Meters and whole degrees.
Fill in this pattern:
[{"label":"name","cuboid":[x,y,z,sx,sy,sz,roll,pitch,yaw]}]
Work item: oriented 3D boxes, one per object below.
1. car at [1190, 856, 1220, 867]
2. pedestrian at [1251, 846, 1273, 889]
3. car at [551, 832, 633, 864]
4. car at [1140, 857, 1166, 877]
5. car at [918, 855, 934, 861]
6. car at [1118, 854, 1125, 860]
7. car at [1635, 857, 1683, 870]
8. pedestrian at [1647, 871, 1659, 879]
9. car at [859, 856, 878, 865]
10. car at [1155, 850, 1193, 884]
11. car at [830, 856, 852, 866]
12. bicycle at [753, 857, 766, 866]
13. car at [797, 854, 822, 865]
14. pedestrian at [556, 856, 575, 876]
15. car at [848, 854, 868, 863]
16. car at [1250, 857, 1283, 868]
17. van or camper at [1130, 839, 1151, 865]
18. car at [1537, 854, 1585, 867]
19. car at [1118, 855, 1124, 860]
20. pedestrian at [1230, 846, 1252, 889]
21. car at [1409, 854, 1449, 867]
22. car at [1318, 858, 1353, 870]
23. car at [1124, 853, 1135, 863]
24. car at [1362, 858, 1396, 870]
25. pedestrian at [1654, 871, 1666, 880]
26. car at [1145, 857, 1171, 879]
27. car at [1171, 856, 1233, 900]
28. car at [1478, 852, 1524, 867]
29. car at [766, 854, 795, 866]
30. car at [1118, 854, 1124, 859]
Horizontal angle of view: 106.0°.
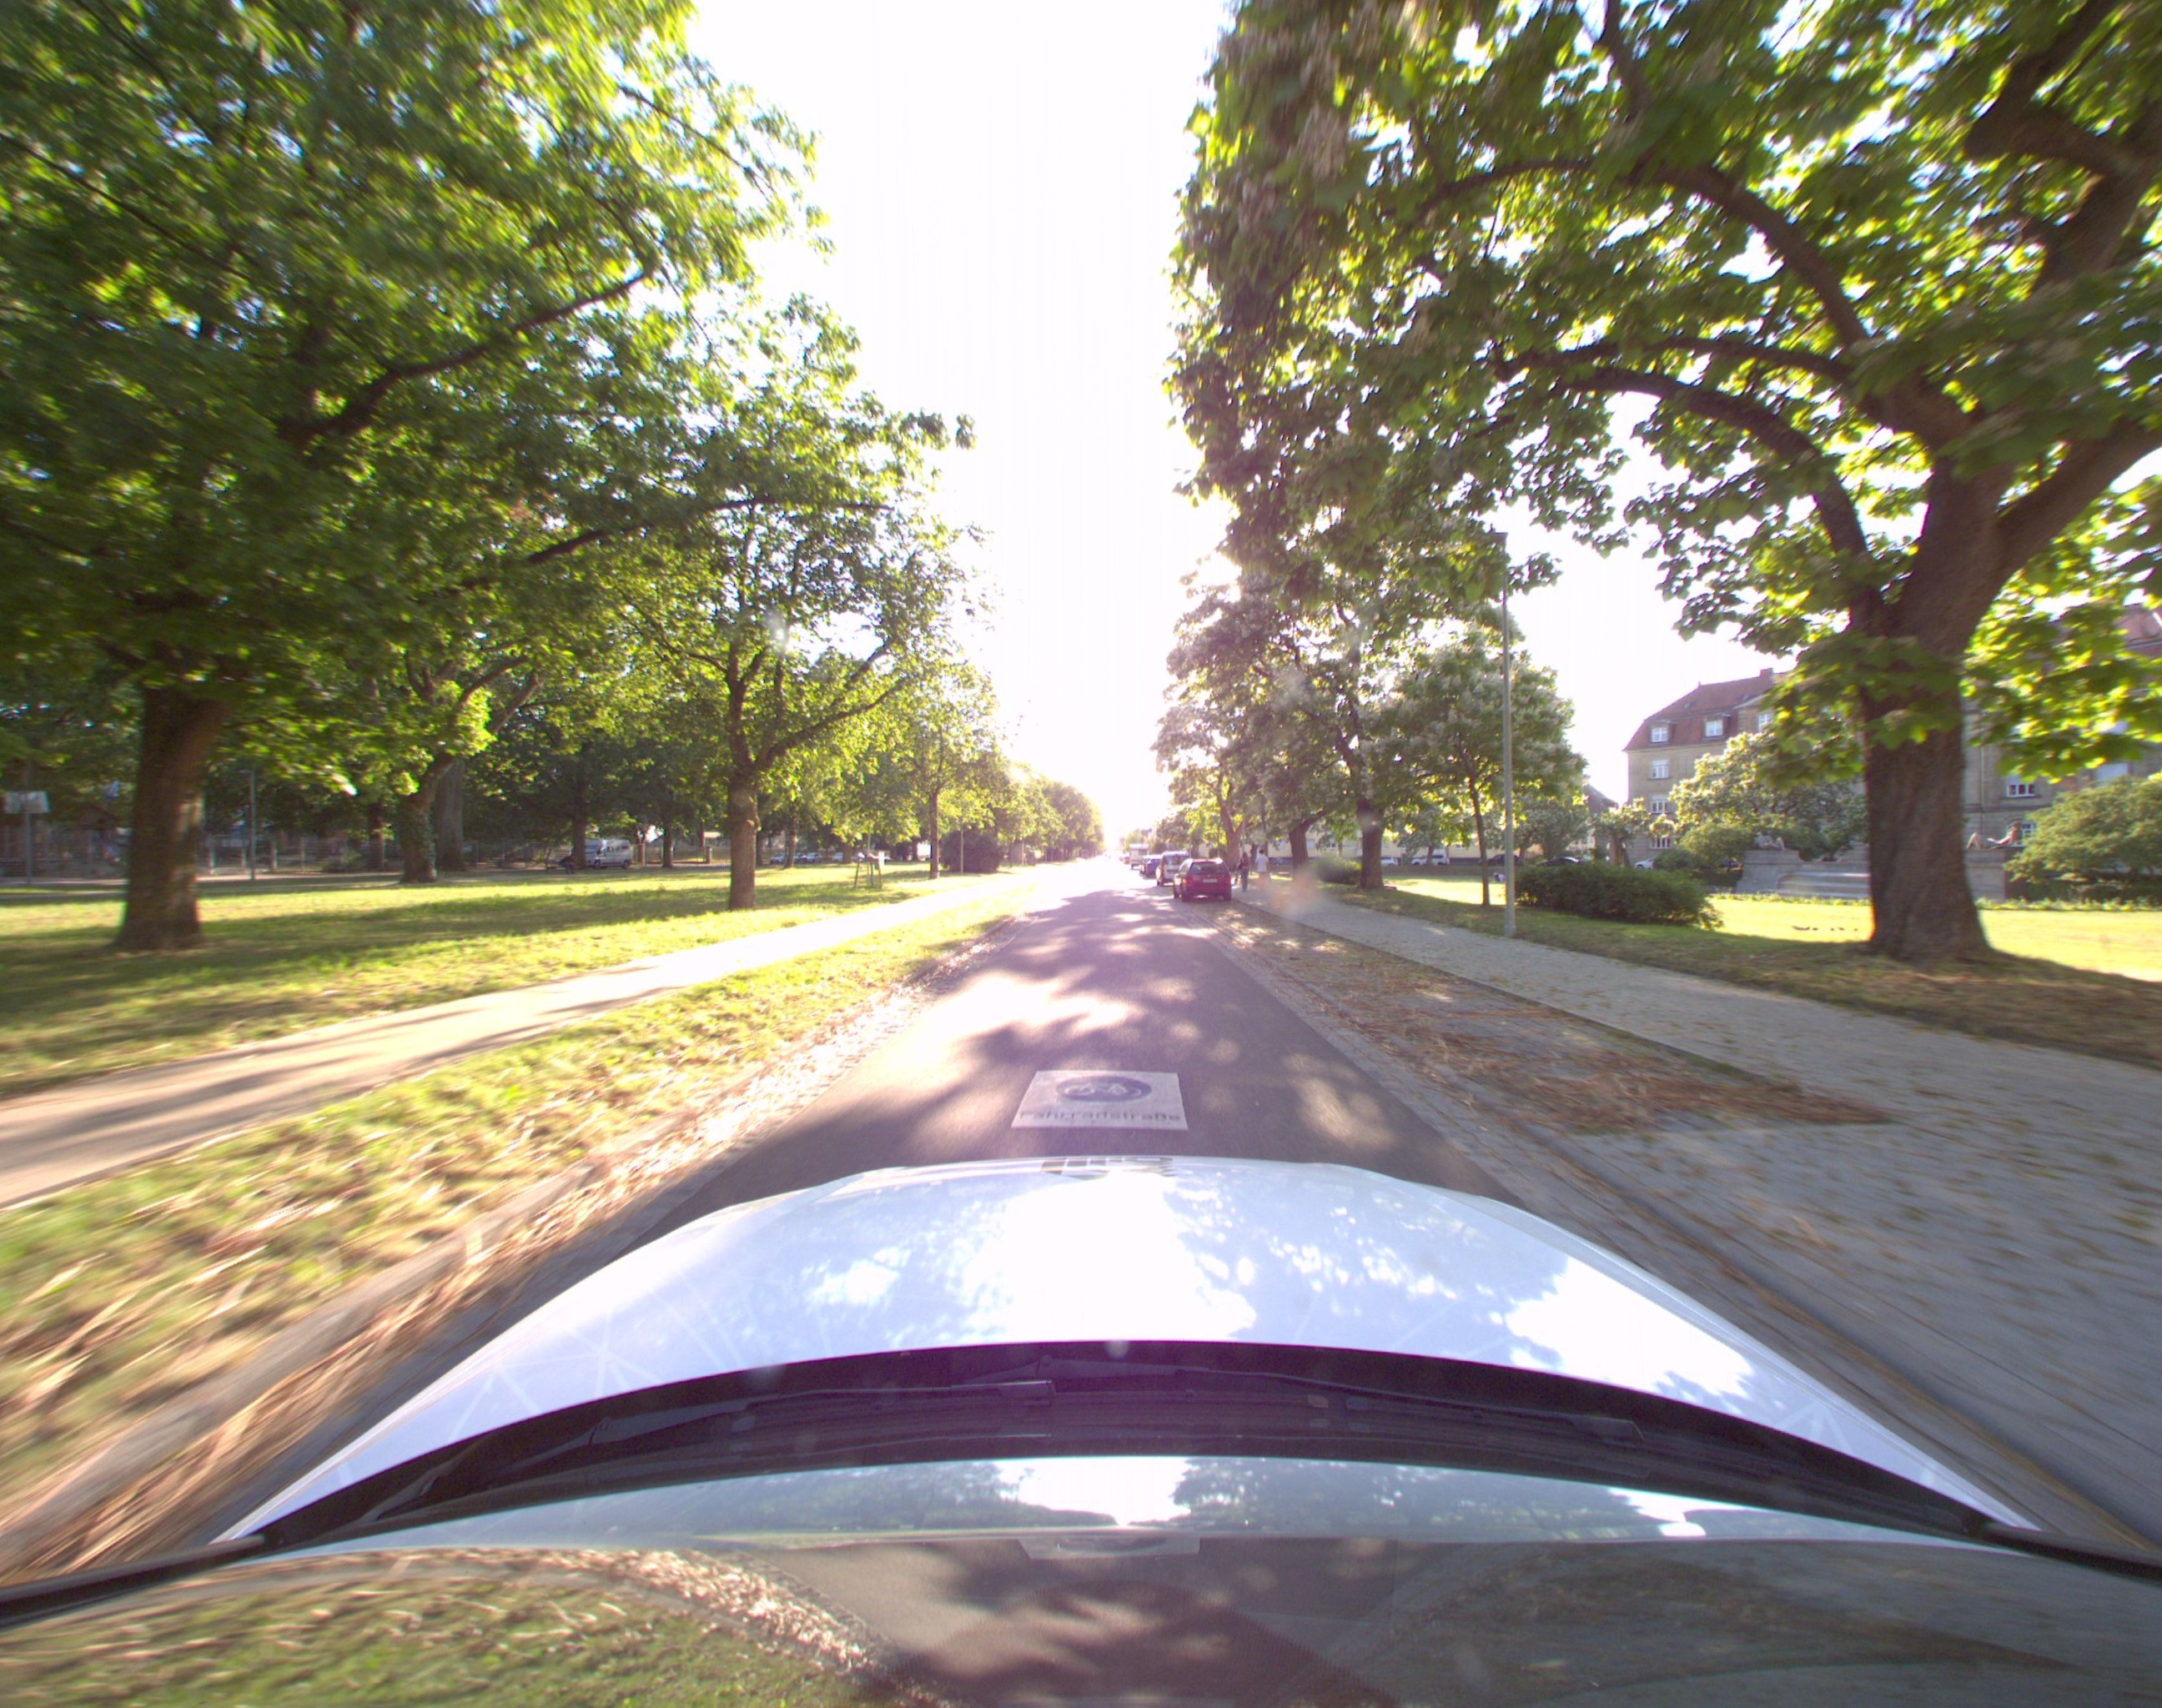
[{"label":"car","cuboid":[17.930,1.118,118.059,4.174,1.530,2.003,0,-1,6]},{"label":"pedestrian","cuboid":[7.389,0.548,33.307,0.722,1.736,0.732,1,0,2]},{"label":"car","cuboid":[-39.682,-0.462,66.344,2.711,2.463,6.319,0,-1,1]},{"label":"car","cuboid":[5.744,1.003,65.168,1.726,1.551,4.423,0,-1,1]},{"label":"car","cuboid":[-36.011,0.911,189.688,2.497,1.508,4.916,0,-1,3]},{"label":"car","cuboid":[9.565,0.712,191.614,1.620,1.410,4.251,0,-1,2]},{"label":"car","cuboid":[63.422,1.032,89.416,1.886,1.453,3.962,0,-1,-29]},{"label":"pedestrian","cuboid":[52.554,1.926,74.777,0.585,0.794,0.665,0,-1,-9]},{"label":"car","cuboid":[-36.599,1.132,140.613,1.985,1.508,4.118,0,-1,3]},{"label":"car","cuboid":[4.904,0.685,43.503,1.672,1.740,4.515,0,-1,2]},{"label":"car","cuboid":[-37.029,1.027,125.699,1.985,1.508,4.118,0,-1,3]},{"label":"bicycle","cuboid":[-40.144,0.952,101.647,0.655,1.175,2.333,0,-1,-1]},{"label":"car","cuboid":[-37.844,0.737,113.558,1.985,1.508,4.118,0,-1,3]},{"label":"pedestrian","cuboid":[-26.365,0.619,41.675,0.544,0.987,0.612,0,-1,12]},{"label":"car","cuboid":[-36.849,0.784,134.524,1.985,1.508,4.118,0,-1,3]},{"label":"car","cuboid":[25.128,1.188,110.404,4.162,1.463,1.700,0,-1,17]},{"label":"van or camper","cuboid":[6.985,-0.179,96.314,2.226,2.904,5.674,0,-2,2]},{"label":"car","cuboid":[53.978,0.720,91.676,1.889,1.453,4.320,0,-1,-36]},{"label":"car","cuboid":[11.626,0.989,238.797,1.620,1.410,4.251,0,-1,2]},{"label":"pedestrian","cuboid":[6.527,0.541,33.296,0.750,1.736,0.732,1,0,2]},{"label":"car","cuboid":[45.796,0.872,107.104,4.467,1.746,1.892,-1,-1,37]},{"label":"car","cuboid":[35.478,1.388,113.476,4.473,1.569,1.890,0,-1,20]},{"label":"car","cuboid":[8.175,0.732,137.766,1.620,1.669,4.251,0,-1,2]},{"label":"car","cuboid":[38.381,1.314,104.901,3.949,1.552,1.620,-1,-1,29]},{"label":"pedestrian","cuboid":[52.641,1.939,74.071,0.585,0.794,0.665,0,-1,-9]},{"label":"car","cuboid":[5.545,0.997,58.915,1.724,1.551,4.279,0,-1,3]},{"label":"car","cuboid":[4.314,0.837,29.683,1.672,1.486,4.811,0,-1,2]},{"label":"car","cuboid":[49.678,0.629,96.335,1.891,1.746,4.470,1,-1,-44]},{"label":"car","cuboid":[-38.065,0.804,103.210,1.985,1.508,4.003,0,-1,3]},{"label":"car","cuboid":[9.962,0.624,202.605,1.620,1.410,4.251,0,-1,2]}]
